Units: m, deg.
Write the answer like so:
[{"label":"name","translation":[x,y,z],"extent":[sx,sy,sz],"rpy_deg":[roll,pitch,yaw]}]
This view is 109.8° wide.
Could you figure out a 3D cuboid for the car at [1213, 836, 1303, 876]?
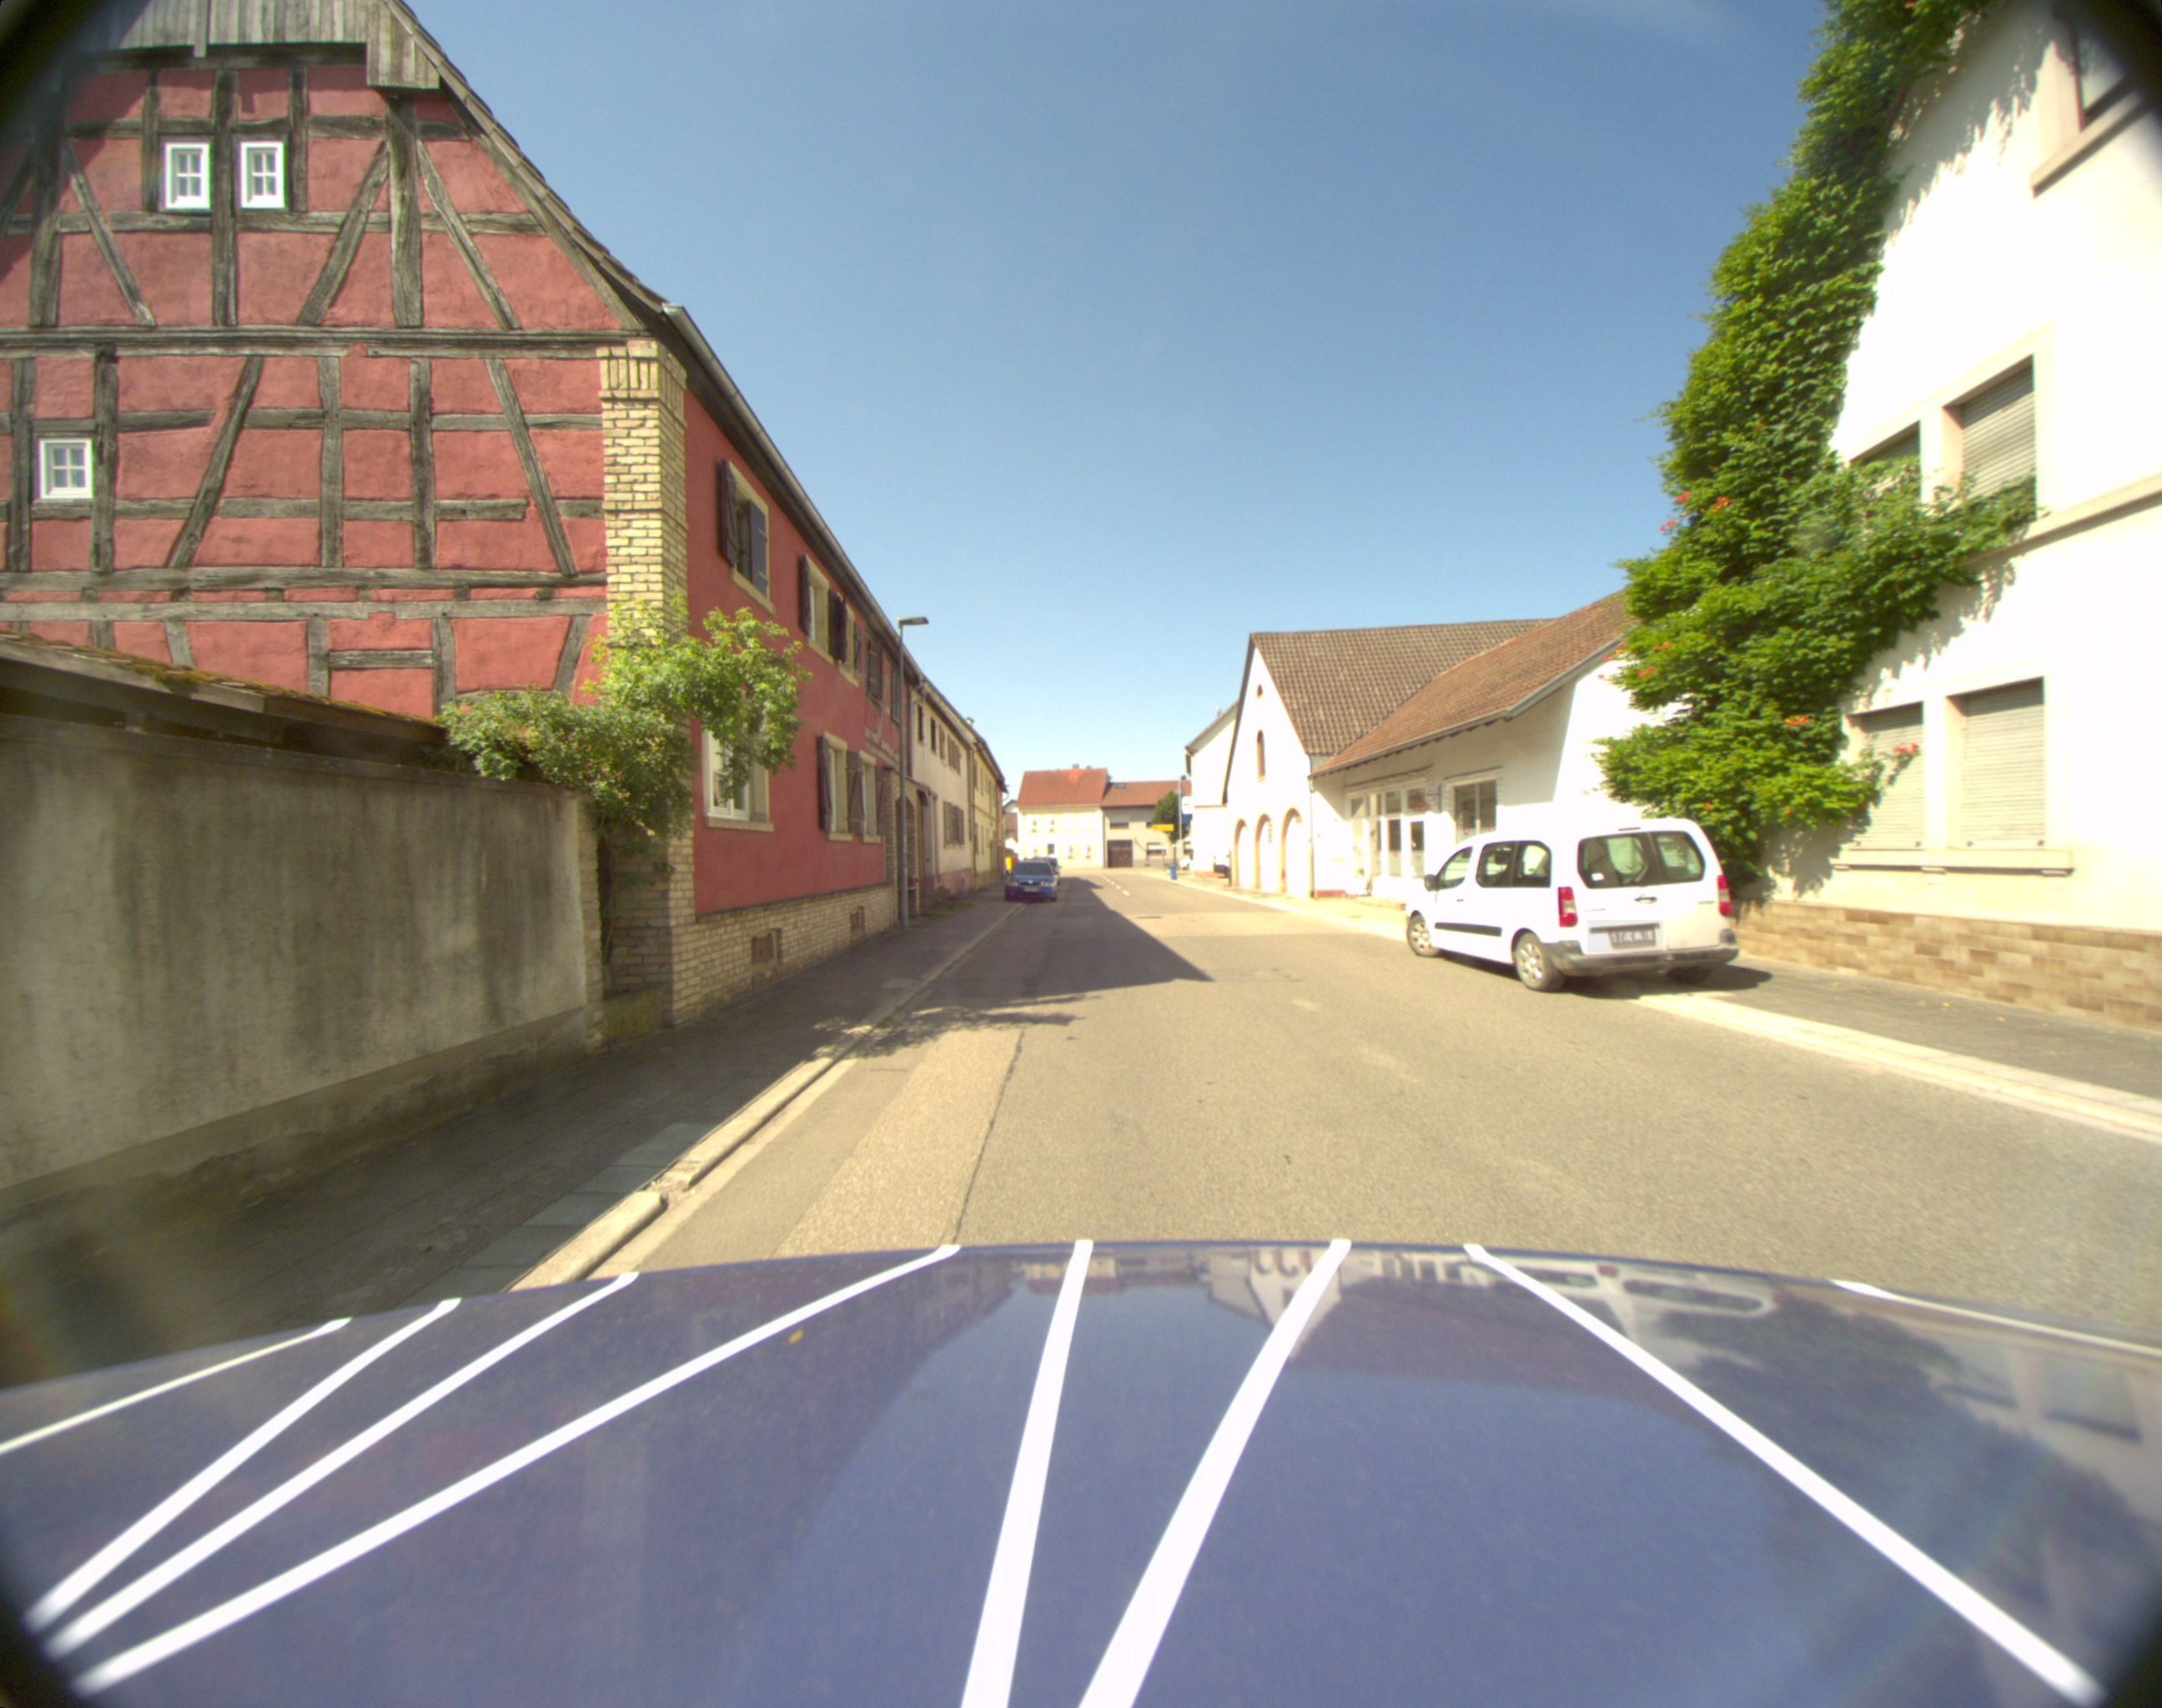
[{"label":"car","translation":[10.730,0.138,46.401],"extent":[5.185,2.184,2.124],"rpy_deg":[-2,0,10]}]

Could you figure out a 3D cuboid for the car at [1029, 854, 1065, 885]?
[{"label":"car","translation":[-1.988,0.873,45.122],"extent":[1.903,1.718,4.248],"rpy_deg":[-2,0,0]}]

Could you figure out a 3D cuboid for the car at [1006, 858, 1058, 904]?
[{"label":"car","translation":[-1.726,0.907,27.443],"extent":[1.703,1.461,4.409],"rpy_deg":[0,0,-2]}]

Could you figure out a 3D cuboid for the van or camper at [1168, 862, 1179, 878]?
[{"label":"van or camper","translation":[5.781,1.000,47.504],"extent":[0.590,0.946,0.600],"rpy_deg":[-2,1,5]}]

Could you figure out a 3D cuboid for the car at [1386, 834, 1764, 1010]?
[{"label":"car","translation":[5.606,0.638,9.462],"extent":[1.860,1.637,4.429],"rpy_deg":[-1,0,1]}]
